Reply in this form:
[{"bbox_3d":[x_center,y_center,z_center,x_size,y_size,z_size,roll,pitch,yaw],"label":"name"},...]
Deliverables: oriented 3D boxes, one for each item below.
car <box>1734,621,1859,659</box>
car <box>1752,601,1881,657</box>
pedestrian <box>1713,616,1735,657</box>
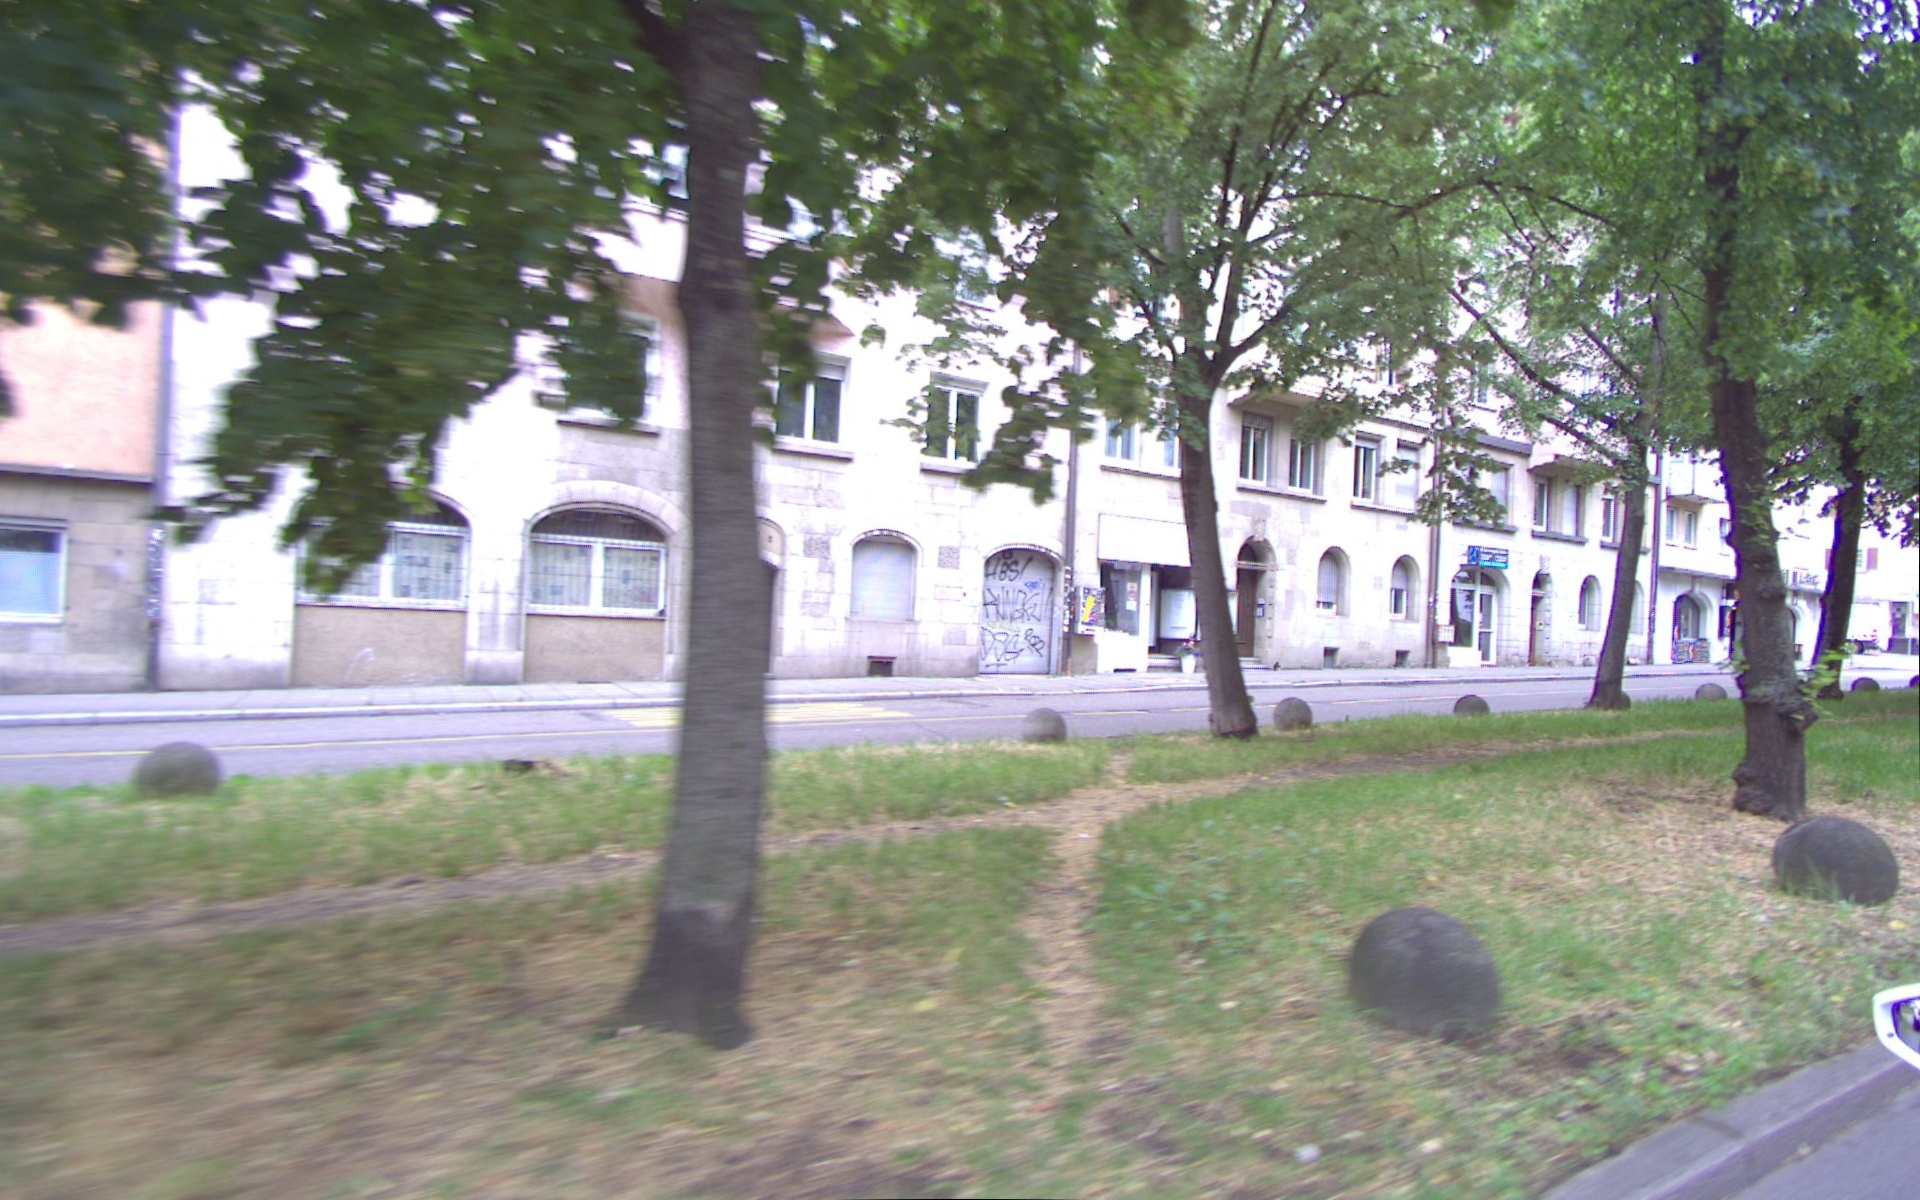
[{"bbox_3d":[40.923,1.932,49.230,2.025,1.439,4.264,1,3,-32],"label":"car"},{"bbox_3d":[47.210,1.544,55.444,2.161,2.773,5.125,2,1,-42],"label":"car"},{"bbox_3d":[32.500,1.550,42.726,0.693,1.688,0.529,2,0,-32],"label":"pedestrian"}]
